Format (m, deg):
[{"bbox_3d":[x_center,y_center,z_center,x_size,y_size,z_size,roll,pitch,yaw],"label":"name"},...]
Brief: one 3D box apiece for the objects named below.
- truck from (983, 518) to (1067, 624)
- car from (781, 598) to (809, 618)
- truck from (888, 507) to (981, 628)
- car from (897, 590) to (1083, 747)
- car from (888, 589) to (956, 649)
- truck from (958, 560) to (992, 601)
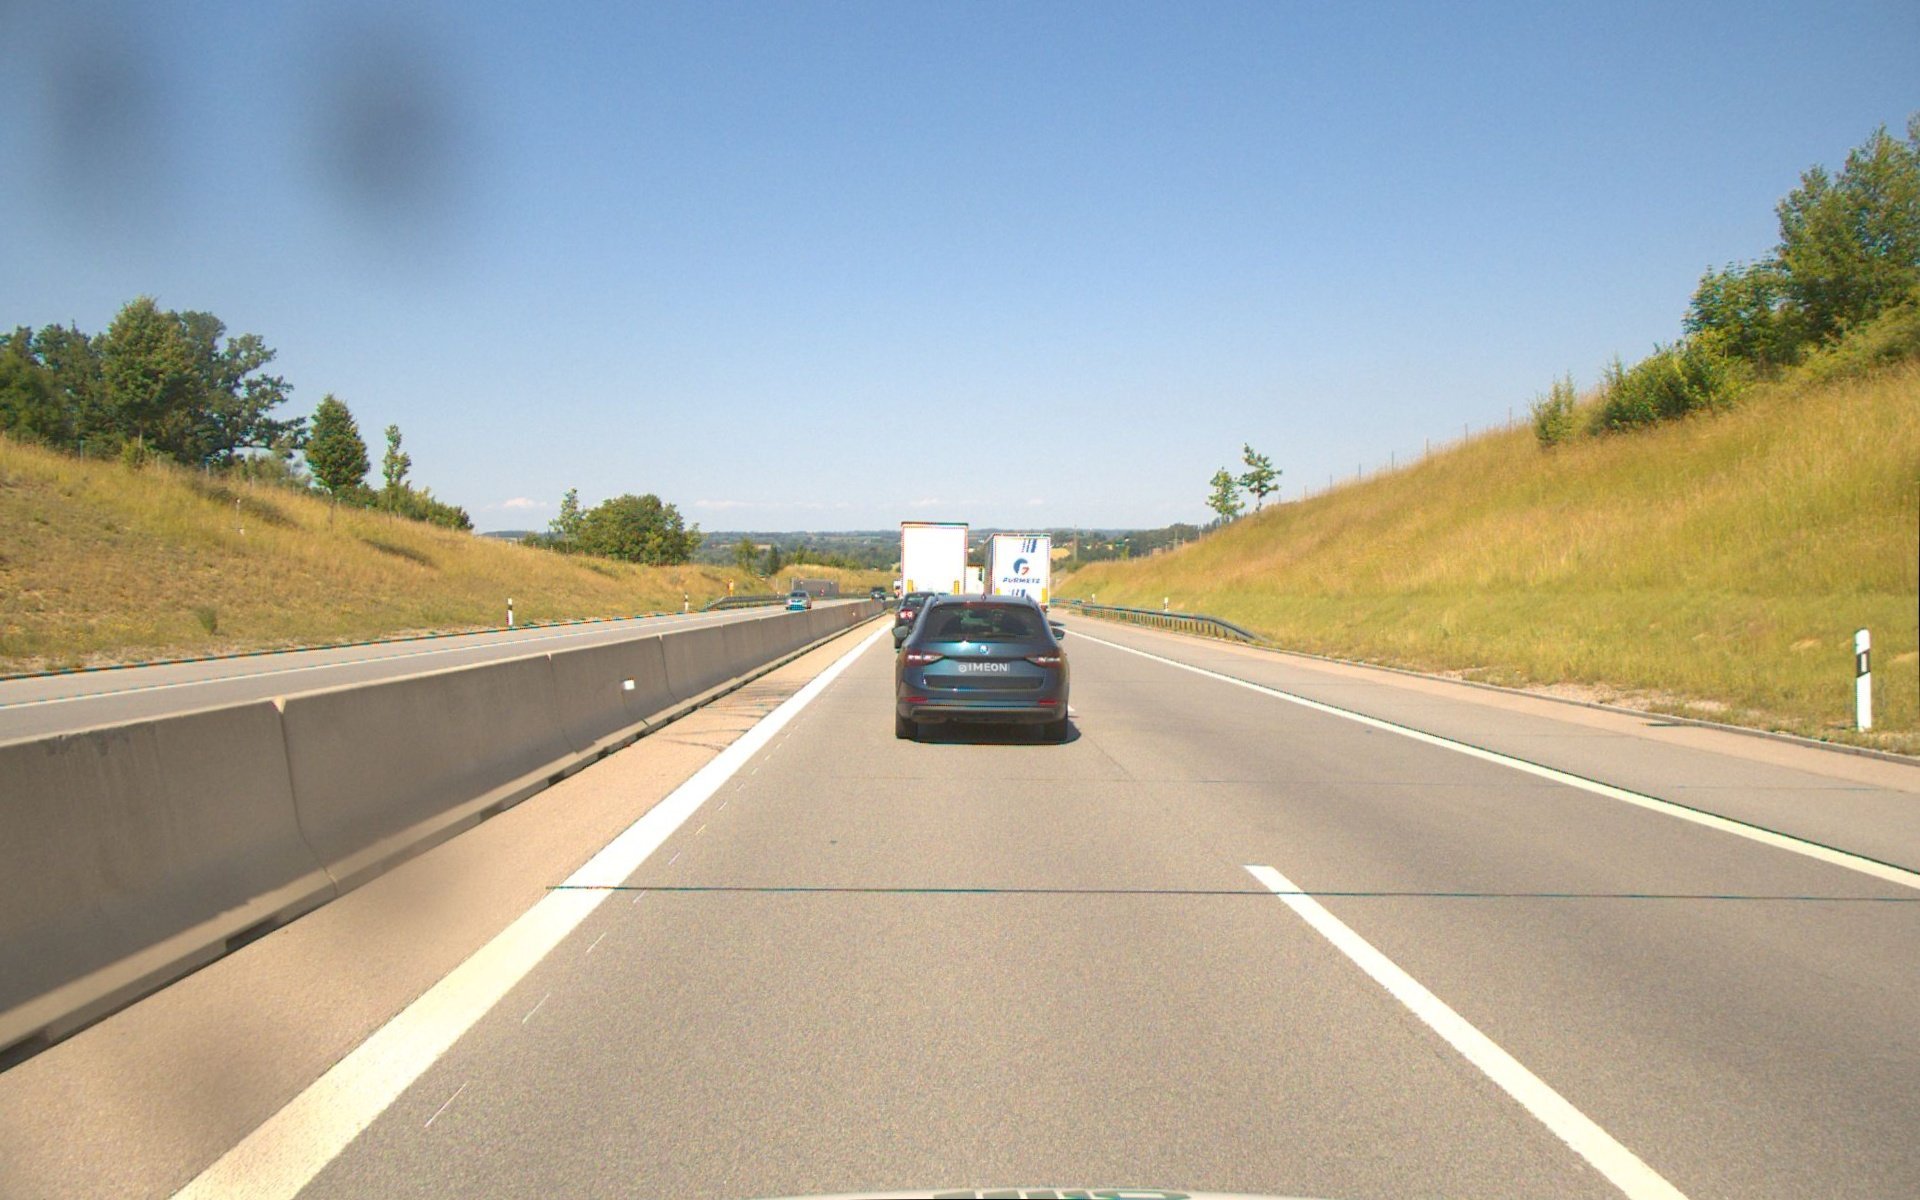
[{"bbox_3d":[2.966,-1.307,77.465,3.530,4.457,11.236,-2,0,2],"label":"truck"},{"bbox_3d":[-12.728,0.603,127.947,1.766,1.497,4.526,0,0,-1],"label":"car"},{"bbox_3d":[-0.895,-1.277,68.050,3.144,4.457,11.236,-2,0,2],"label":"truck"},{"bbox_3d":[0.213,0.639,17.531,1.741,1.466,3.787,1,0,-2],"label":"car"},{"bbox_3d":[-1.026,0.461,43.567,1.666,1.466,3.998,-2,0,-2],"label":"car"},{"bbox_3d":[1.771,-2.203,188.007,3.530,4.457,11.236,-2,0,2],"label":"truck"}]
